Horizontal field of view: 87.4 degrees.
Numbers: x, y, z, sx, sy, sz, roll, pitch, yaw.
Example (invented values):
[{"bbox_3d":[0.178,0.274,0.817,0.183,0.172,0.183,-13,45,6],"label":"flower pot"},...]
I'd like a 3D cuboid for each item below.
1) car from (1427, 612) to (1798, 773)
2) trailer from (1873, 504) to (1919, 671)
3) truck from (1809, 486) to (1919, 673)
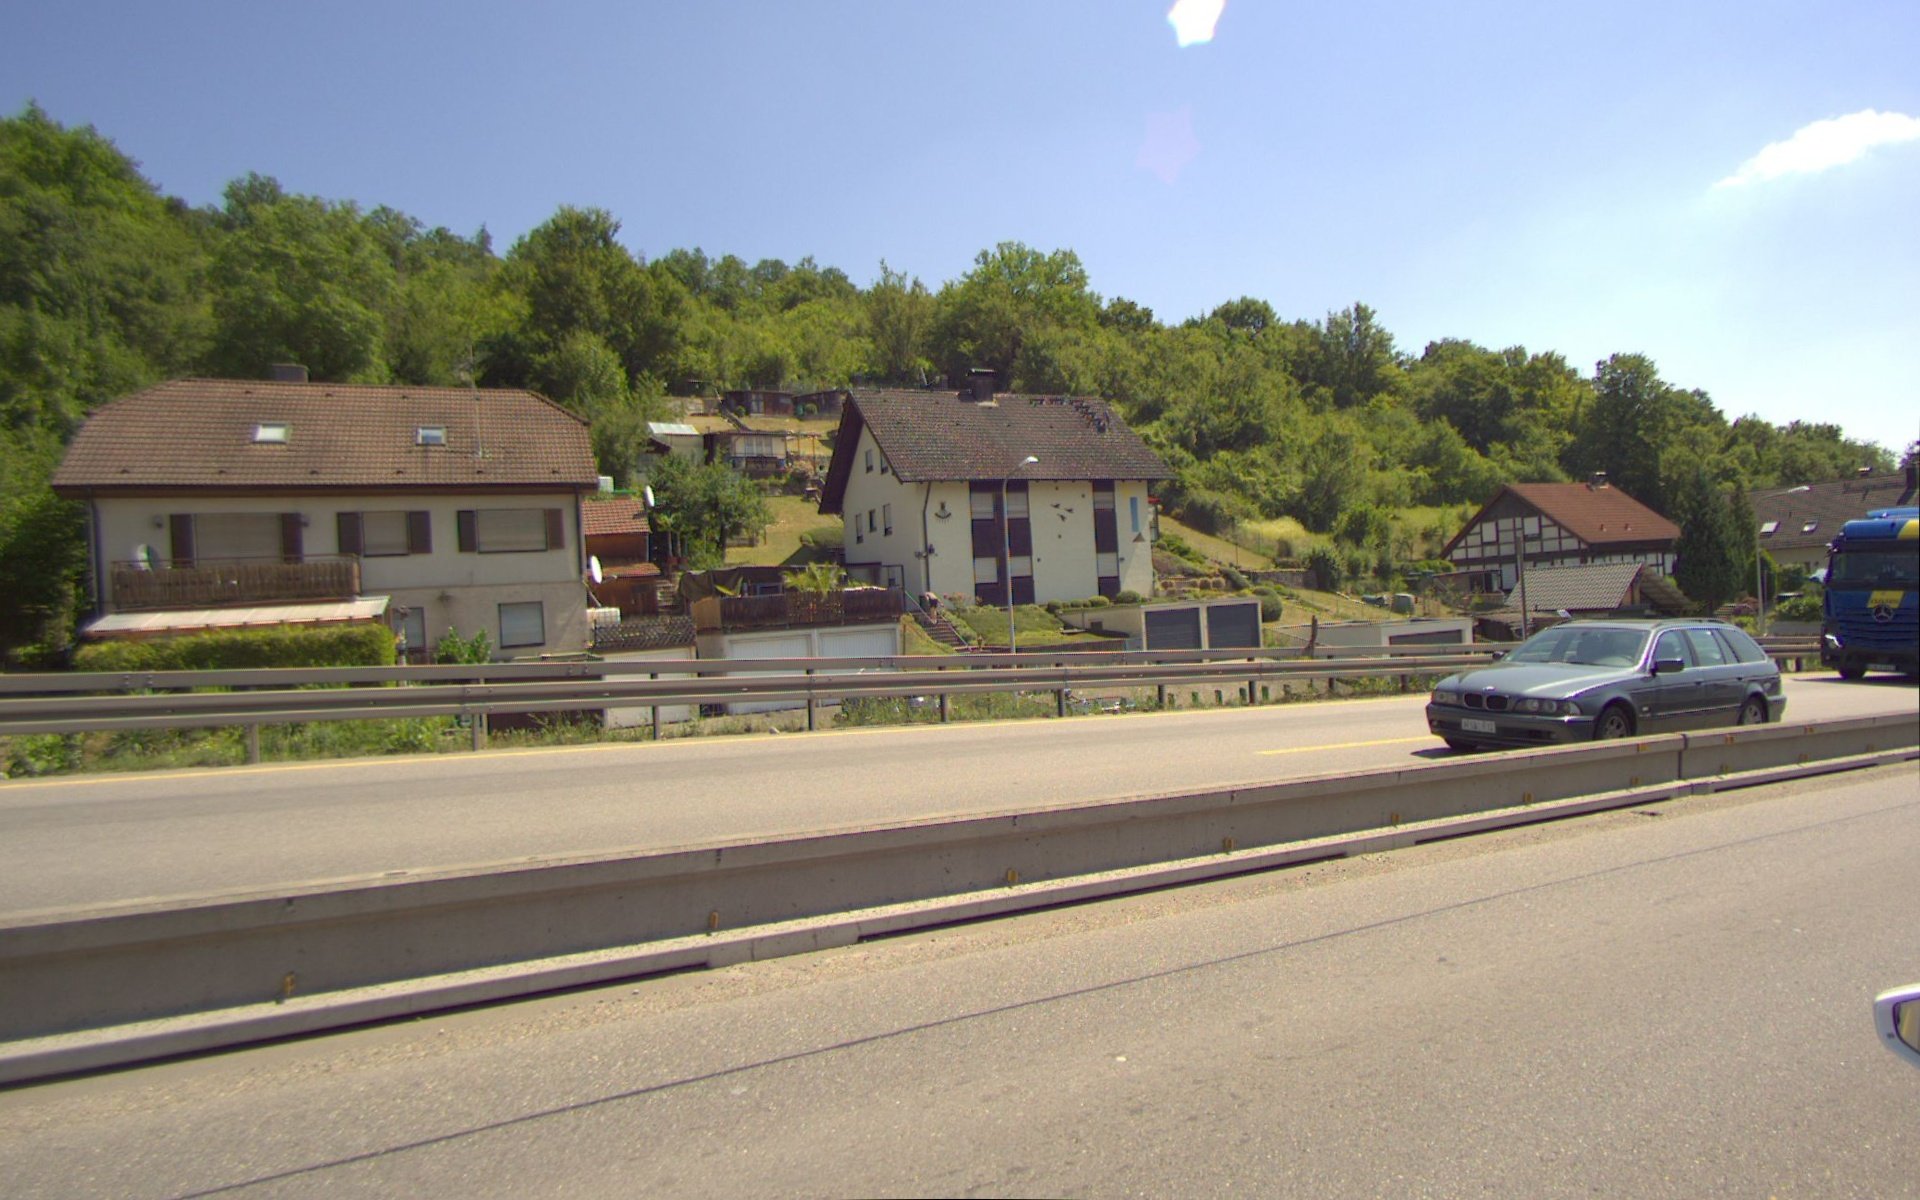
[{"bbox_3d":[7.312,0.898,11.126,4.573,1.483,1.537,1,-1,-30],"label":"car"},{"bbox_3d":[28.152,-0.136,26.456,11.256,4.017,2.498,2,-1,-28],"label":"trailer"},{"bbox_3d":[22.540,-0.340,23.393,5.111,4.017,2.499,2,-1,-28],"label":"truck"}]
